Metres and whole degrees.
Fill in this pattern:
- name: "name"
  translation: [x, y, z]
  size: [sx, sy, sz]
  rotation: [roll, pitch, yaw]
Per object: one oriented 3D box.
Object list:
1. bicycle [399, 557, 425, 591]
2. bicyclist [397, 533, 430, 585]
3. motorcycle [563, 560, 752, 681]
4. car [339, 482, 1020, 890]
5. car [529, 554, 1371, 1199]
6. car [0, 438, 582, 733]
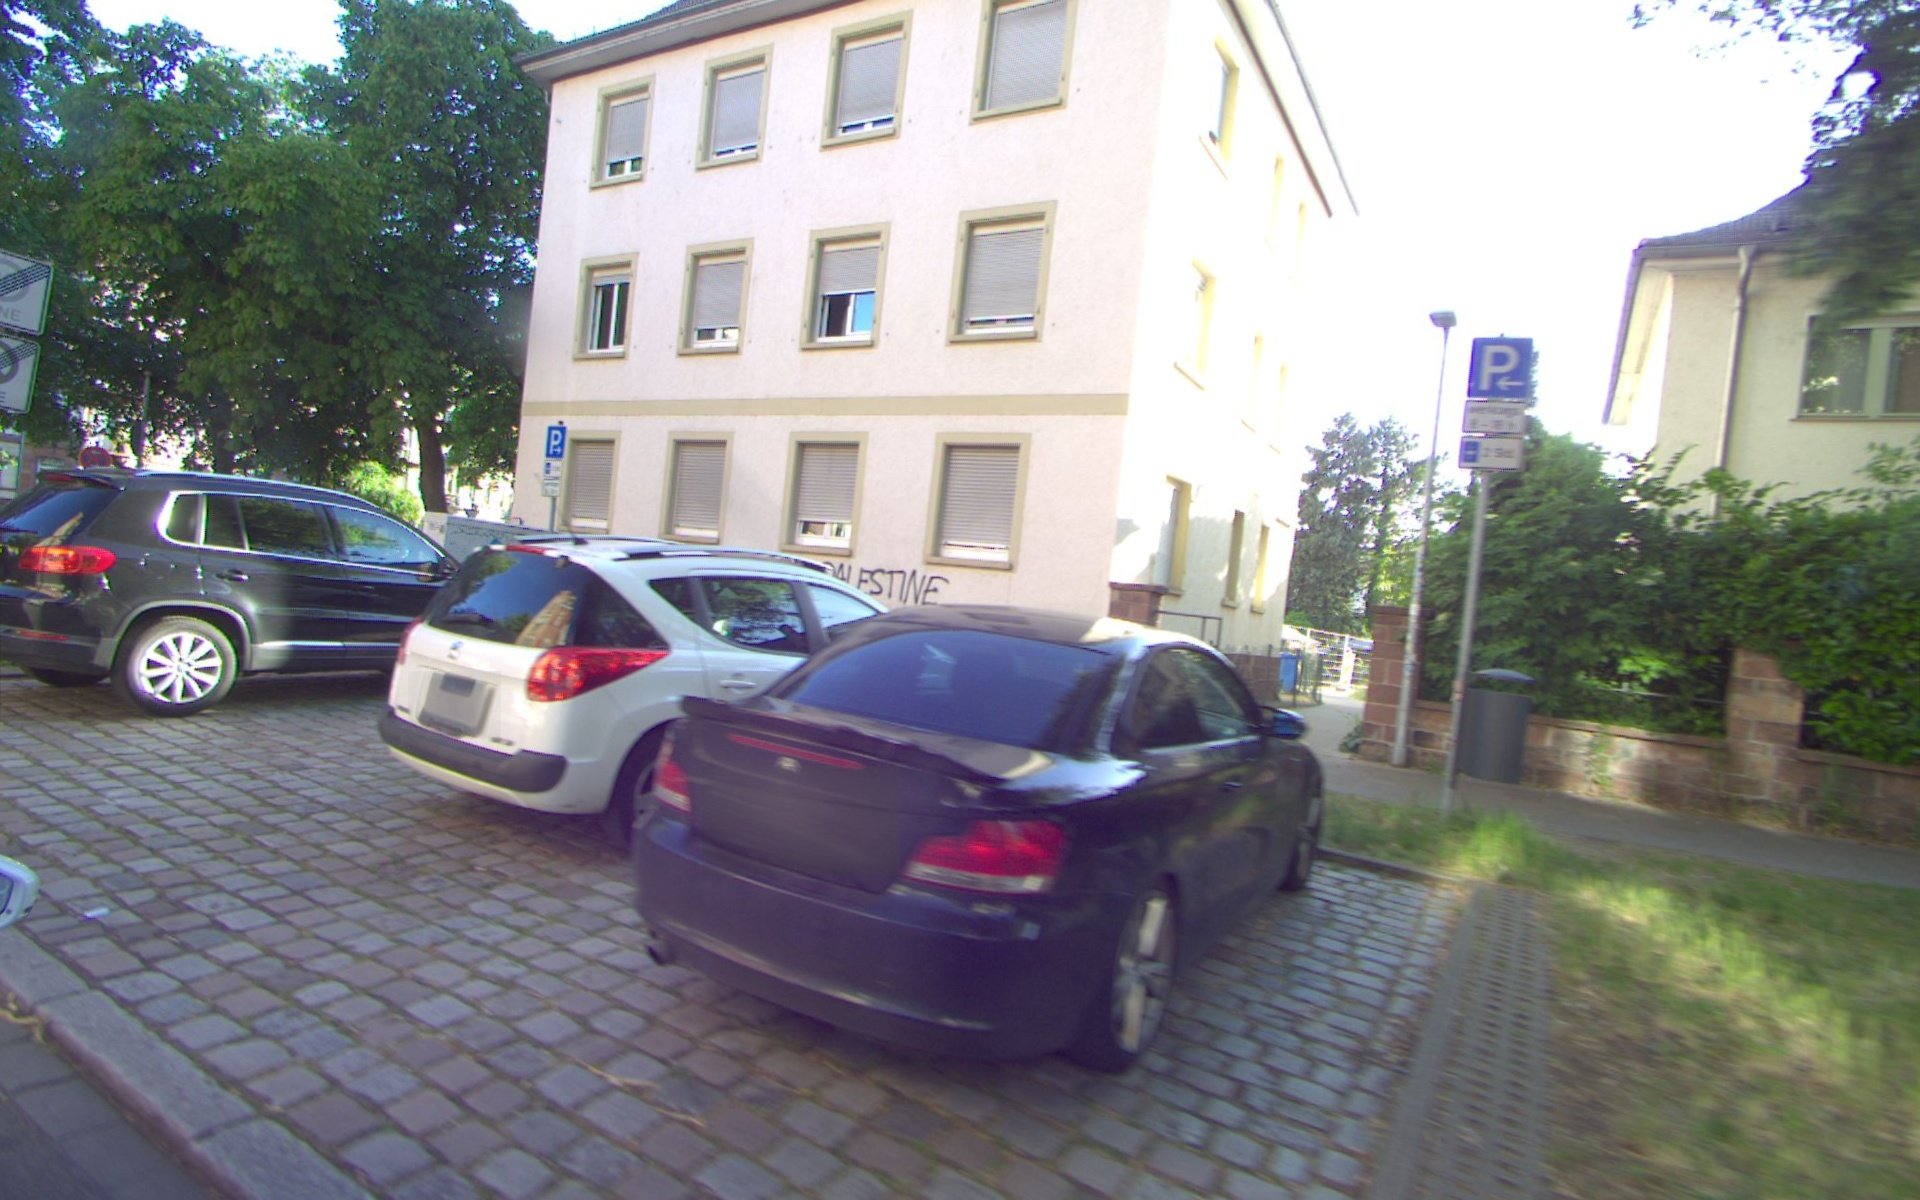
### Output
- name: "bicycle"
  translation: [-21.574, -1.031, 39.564]
  size: [0.594, 1.176, 2.022]
  rotation: [6, 0, -35]
- name: "bicyclist"
  translation: [-21.576, -1.623, 39.700]
  size: [0.846, 1.922, 1.128]
  rotation: [5, 1, -37]
- name: "motorcycle"
  translation: [-3.982, 0.260, 13.245]
  size: [2.143, 1.296, 0.977]
  rotation: [7, 1, 23]
- name: "car"
  translation: [-1.375, 0.441, 6.183]
  size: [1.677, 1.671, 3.695]
  rotation: [7, 0, 35]
- name: "car"
  translation: [0.478, 0.696, 4.491]
  size: [1.762, 1.431, 4.105]
  rotation: [6, 2, 31]
- name: "car"
  translation: [-5.494, -0.100, 8.241]
  size: [1.988, 1.735, 4.113]
  rotation: [7, 1, 27]
